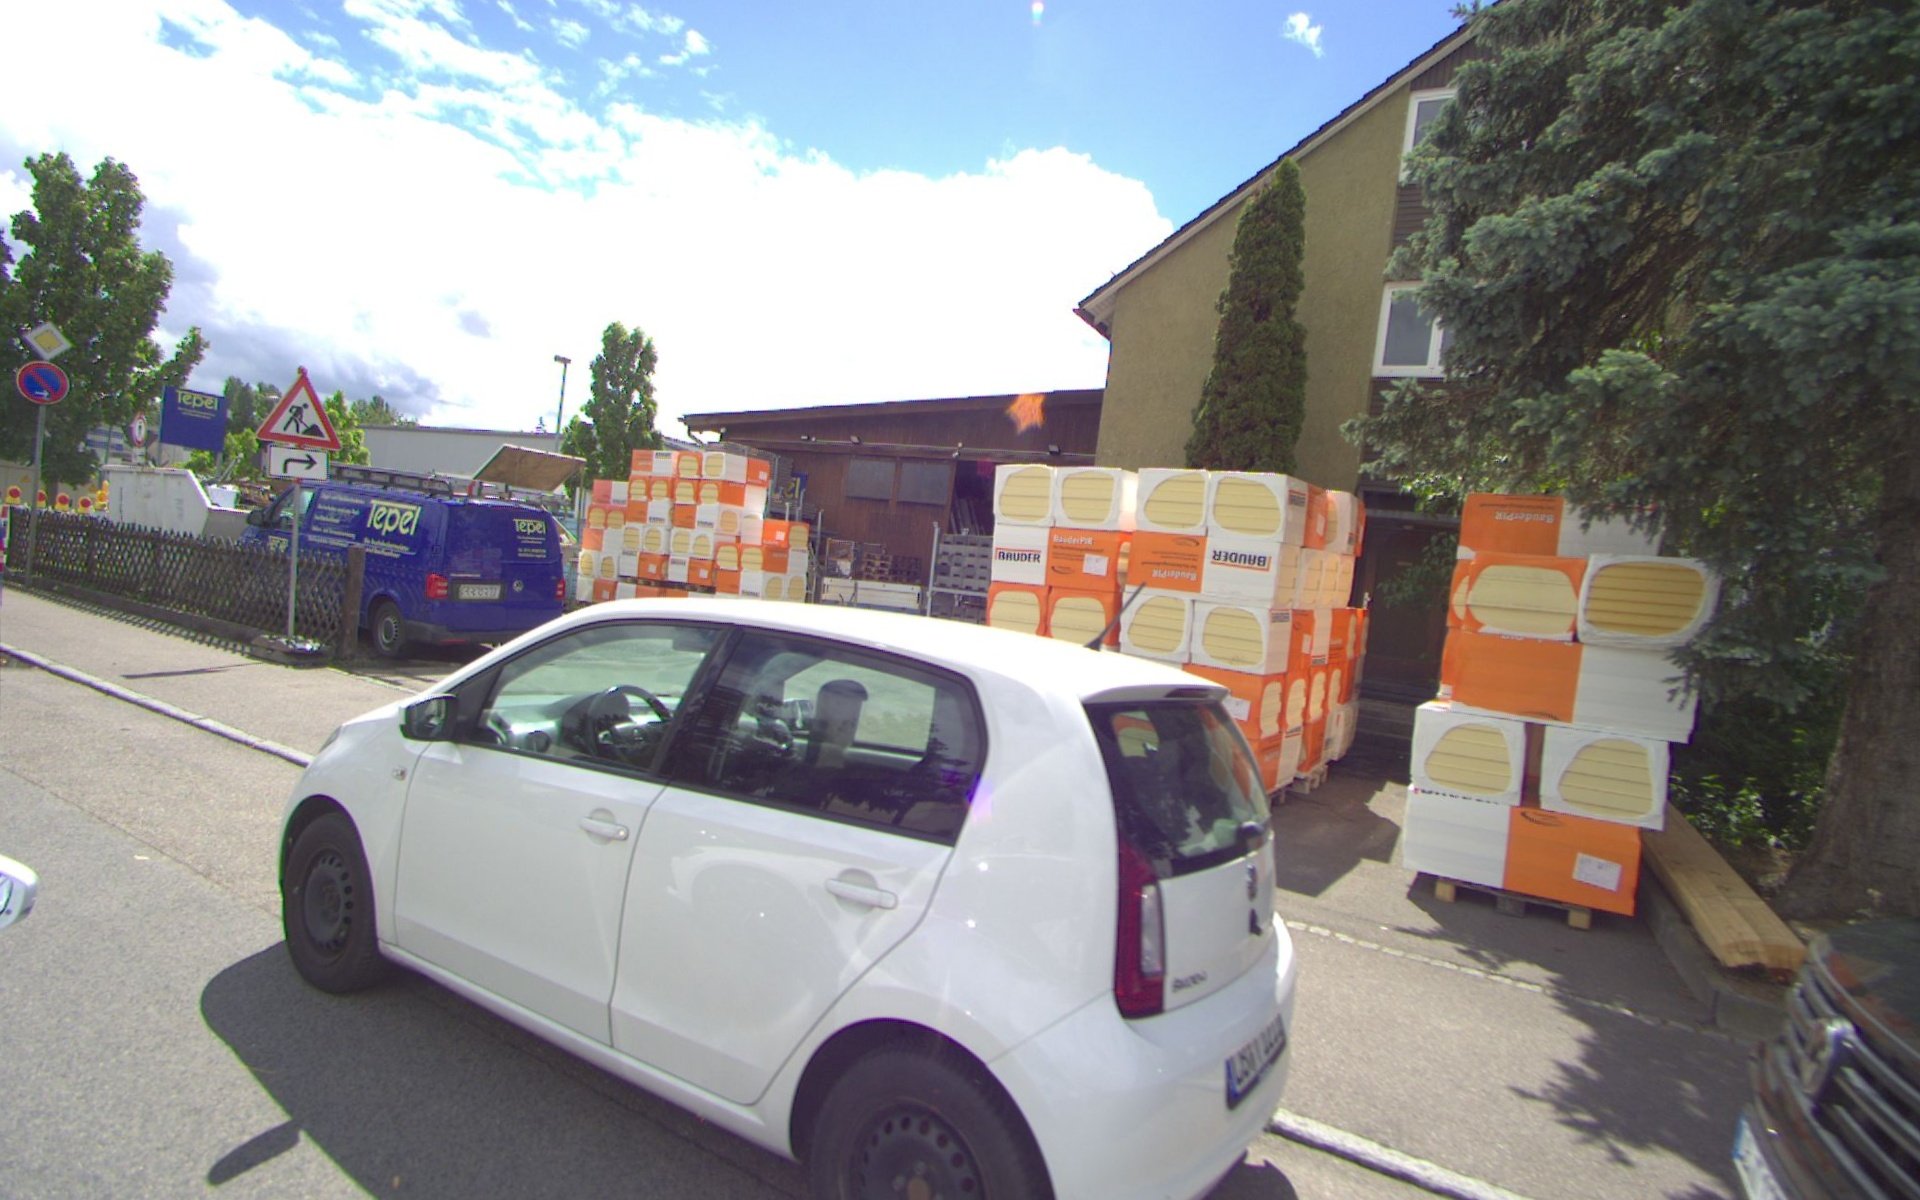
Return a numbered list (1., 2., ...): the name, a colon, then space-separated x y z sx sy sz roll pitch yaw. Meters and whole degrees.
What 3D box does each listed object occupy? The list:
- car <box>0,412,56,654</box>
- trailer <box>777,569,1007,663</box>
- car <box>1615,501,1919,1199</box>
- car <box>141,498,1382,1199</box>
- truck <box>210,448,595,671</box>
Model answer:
1. car: -10.946 -0.900 9.799 4.390 2.194 1.877 7 -1 32
2. trailer: -1.126 0.389 19.380 1.966 1.345 4.887 7 0 29
3. car: 3.525 1.040 0.898 4.632 1.749 1.876 7 1 30
4. car: -0.862 0.641 3.478 3.933 1.527 1.774 7 1 31
5. truck: -7.268 -0.618 12.883 5.294 2.111 1.829 9 5 31
